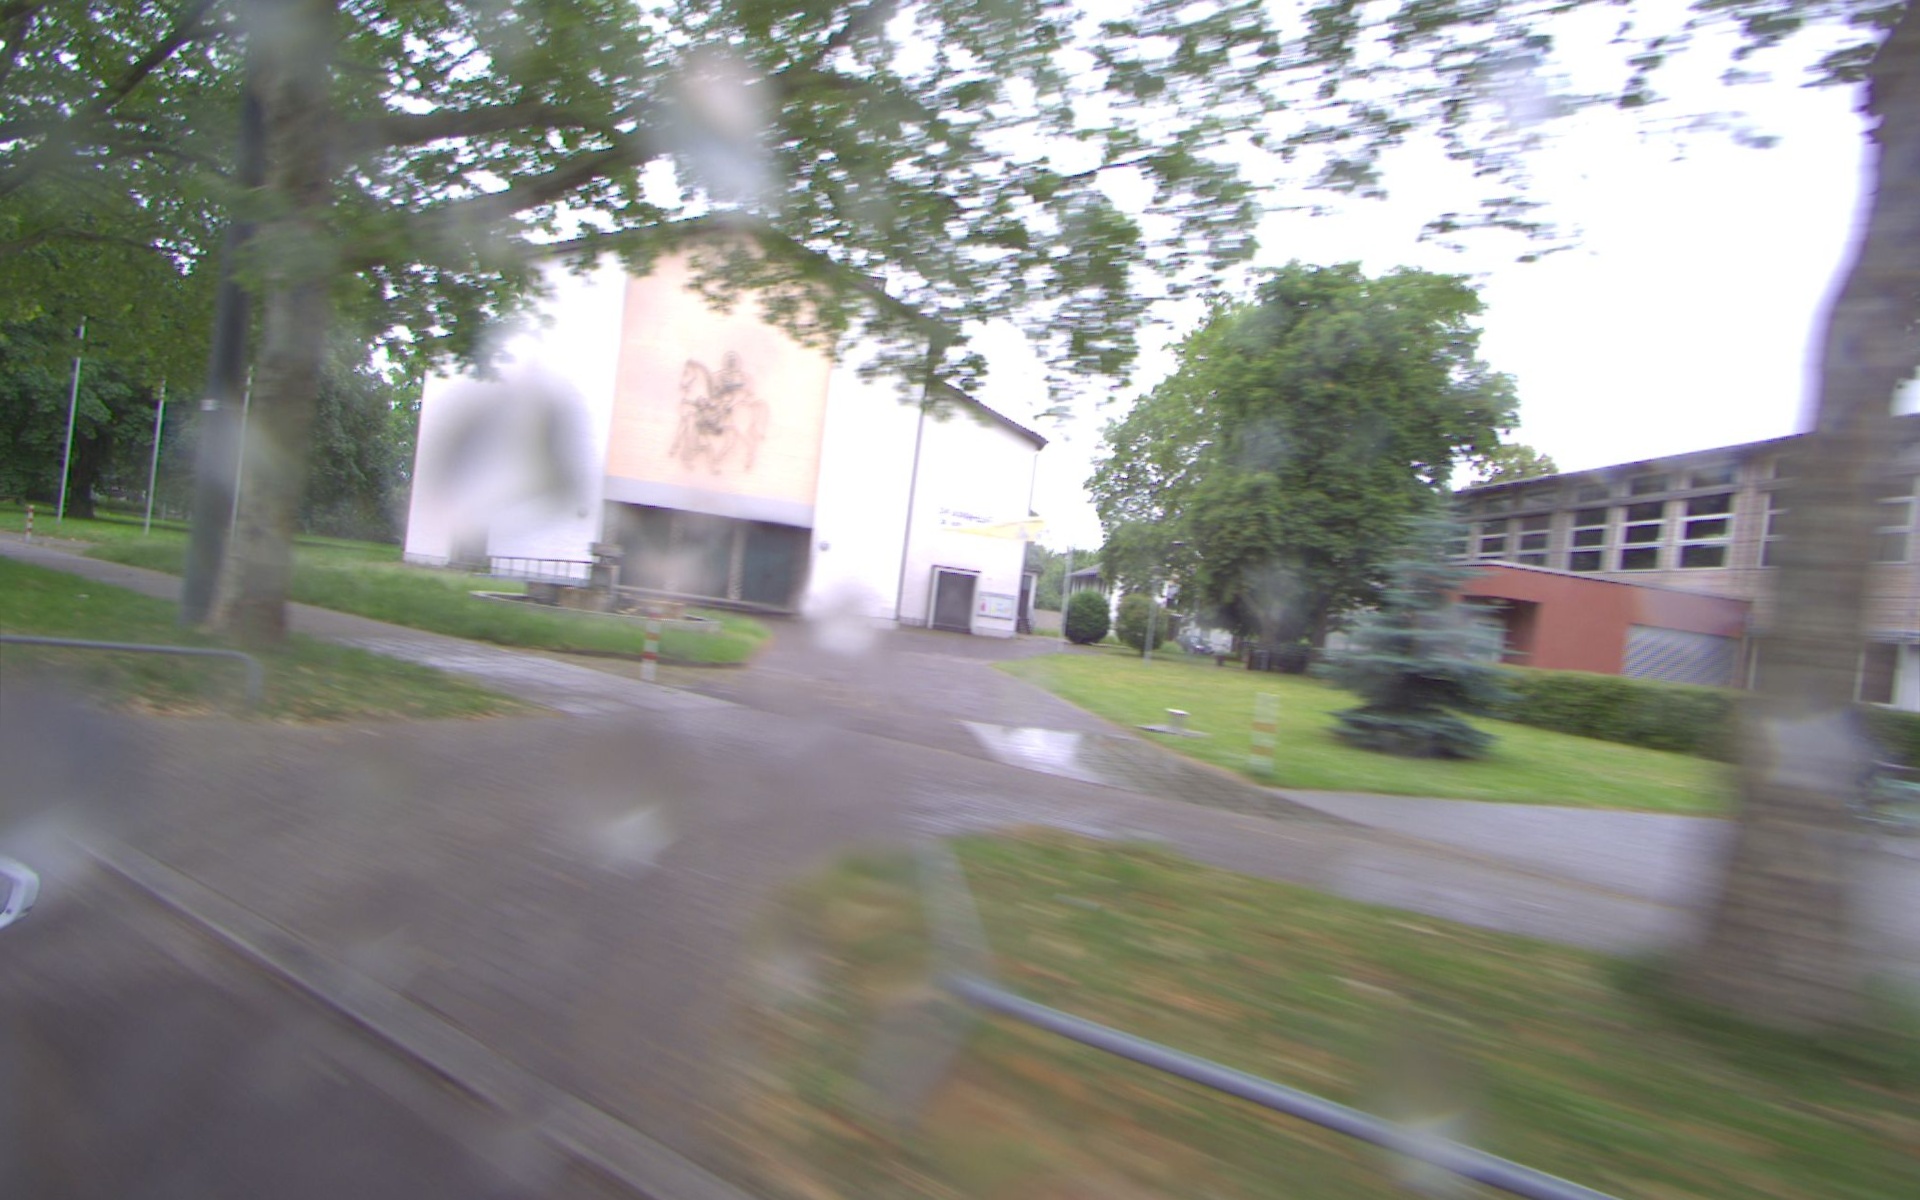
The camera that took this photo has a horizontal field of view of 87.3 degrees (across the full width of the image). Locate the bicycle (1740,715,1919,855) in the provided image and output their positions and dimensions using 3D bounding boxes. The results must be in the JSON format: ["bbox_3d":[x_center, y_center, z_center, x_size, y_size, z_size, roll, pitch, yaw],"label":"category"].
[{"bbox_3d":[9.452,1.927,10.550,0.457,1.105,2.037,6,2,-16],"label":"bicycle"}]
